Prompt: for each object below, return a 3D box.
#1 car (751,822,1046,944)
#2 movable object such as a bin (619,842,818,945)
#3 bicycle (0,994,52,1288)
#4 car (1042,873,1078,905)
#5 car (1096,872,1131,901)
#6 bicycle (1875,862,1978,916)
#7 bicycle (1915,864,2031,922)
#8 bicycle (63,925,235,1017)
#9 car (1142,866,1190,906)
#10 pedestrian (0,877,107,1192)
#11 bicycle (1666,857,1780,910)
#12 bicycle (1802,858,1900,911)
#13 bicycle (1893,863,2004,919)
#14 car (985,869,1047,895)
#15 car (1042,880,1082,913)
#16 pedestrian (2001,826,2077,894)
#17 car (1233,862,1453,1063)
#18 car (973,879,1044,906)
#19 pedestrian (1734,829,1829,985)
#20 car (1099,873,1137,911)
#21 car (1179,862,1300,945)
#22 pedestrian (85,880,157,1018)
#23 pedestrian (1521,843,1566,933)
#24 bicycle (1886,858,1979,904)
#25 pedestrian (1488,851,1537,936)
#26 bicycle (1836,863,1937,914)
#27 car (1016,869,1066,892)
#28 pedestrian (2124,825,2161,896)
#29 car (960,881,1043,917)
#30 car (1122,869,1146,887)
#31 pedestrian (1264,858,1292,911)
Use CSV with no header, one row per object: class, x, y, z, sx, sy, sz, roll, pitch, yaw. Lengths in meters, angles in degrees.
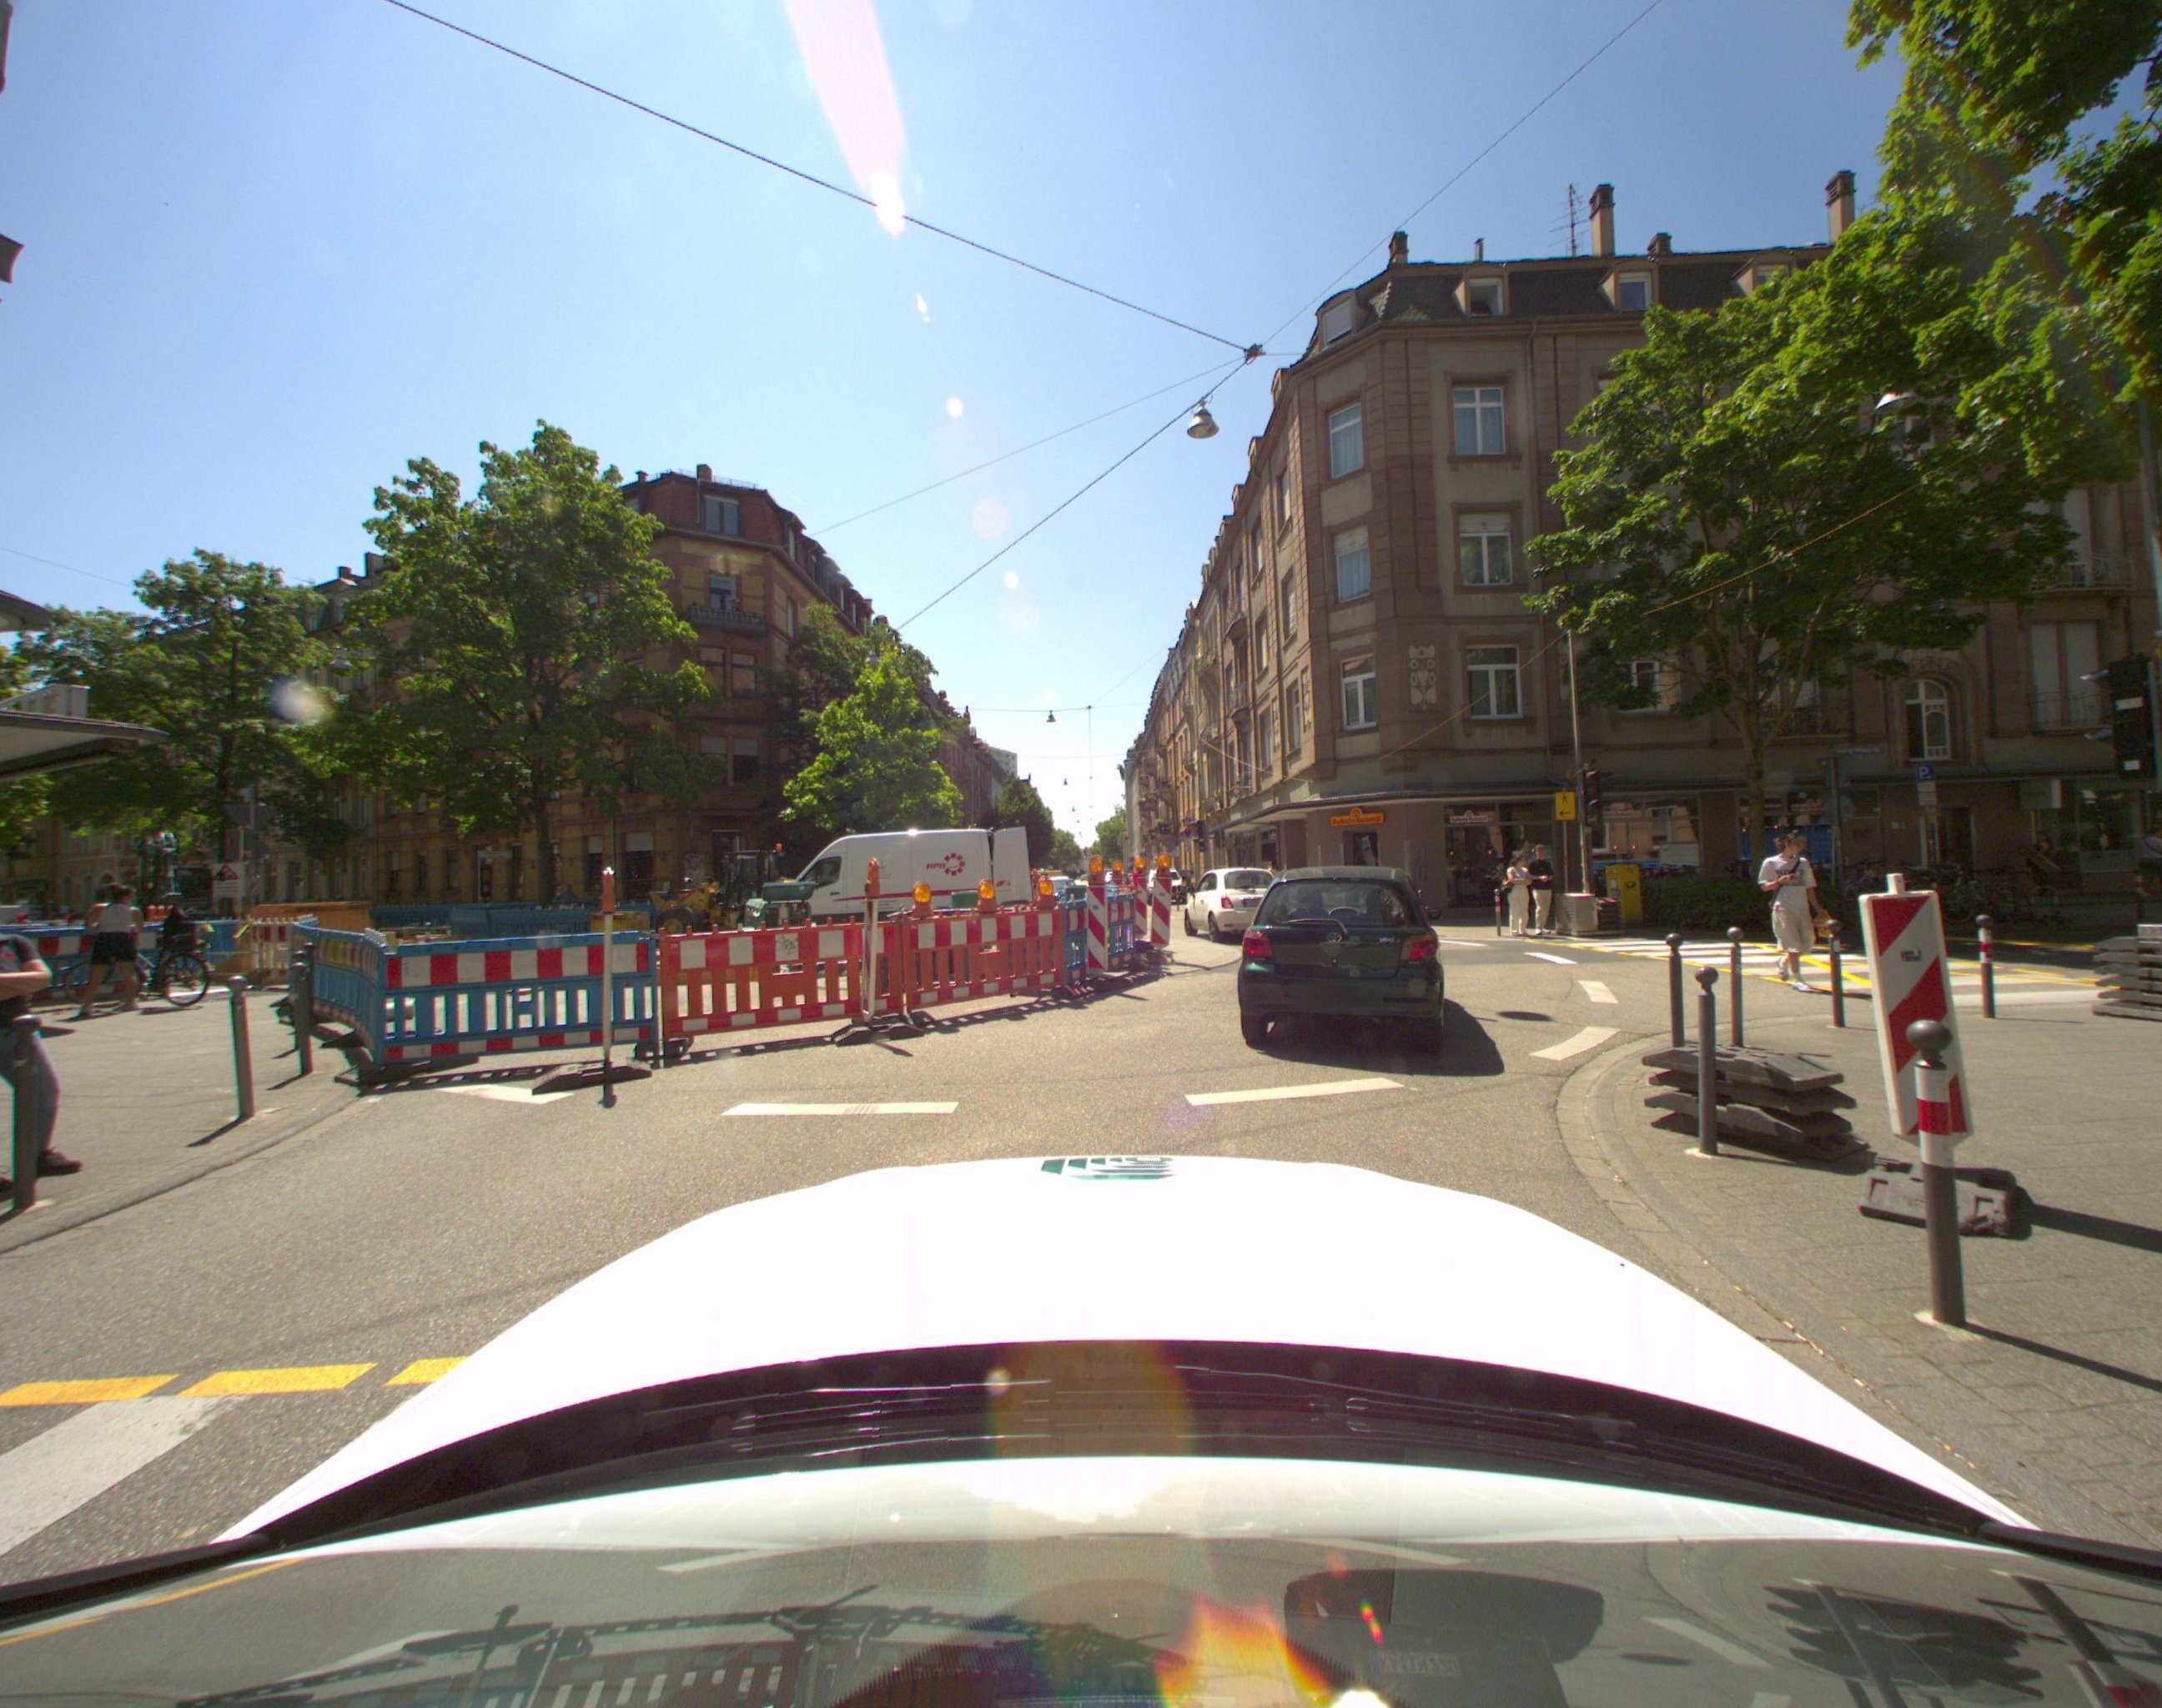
car,-4.250,0.707,19.902,6.597,2.752,2.380,0,-2,1
movable object such as a bin,-9.791,1.063,22.315,4.532,2.659,1.953,0,-2,-3
bicycle,-5.168,1.173,3.460,1.789,1.119,0.470,-1,-1,21
car,-1.194,2.032,48.021,1.748,1.645,4.377,-5,-2,1
car,2.032,2.073,52.166,1.987,1.618,3.999,-5,-2,0
bicycle,17.219,0.697,16.595,1.680,1.006,0.470,-2,0,-4
bicycle,16.938,0.728,15.475,1.756,0.996,0.470,-2,0,-4
bicycle,-12.433,1.546,10.899,1.573,1.072,0.340,-2,-2,-17
car,4.029,1.508,39.125,1.865,1.713,4.504,-4,-2,1
pedestrian,-5.782,0.941,4.429,0.388,1.618,0.475,-2,-2,-2
bicycle,14.760,0.685,18.778,1.964,1.132,0.519,-3,-2,18
bicycle,16.812,0.657,17.783,1.756,1.080,0.470,-2,0,-4
bicycle,17.066,0.717,16.027,1.756,0.996,0.470,-2,0,-4
car,-5.518,2.386,69.150,4.801,1.994,2.034,-1,-2,-29
car,-0.891,2.046,39.834,1.748,1.444,4.000,-3,-2,1
pedestrian,23.749,0.151,20.210,0.853,1.634,0.787,-2,-2,0
car,2.517,0.828,7.828,1.600,1.485,3.256,-1,-1,19
car,-4.378,2.305,49.517,3.943,1.470,1.843,0,-2,-41
pedestrian,8.195,0.613,9.560,0.473,1.733,0.876,-3,-3,19
car,1.664,1.713,37.365,1.518,1.592,3.262,-2,-1,-1
car,3.226,0.986,17.171,1.521,1.521,3.255,-2,-1,-7
pedestrian,-12.538,1.213,10.641,0.385,1.715,0.594,-4,-2,40
pedestrian,9.501,0.685,16.747,0.575,1.768,0.470,-4,2,-8
bicycle,19.924,0.624,19.066,1.720,0.996,0.504,-2,0,-4
pedestrian,8.781,0.799,16.576,0.701,1.645,0.422,-4,2,-8
bicycle,17.125,0.731,17.322,1.756,0.996,0.470,-2,0,-4
car,-4.019,2.641,81.687,4.582,2.188,1.982,-1,-2,-27
pedestrian,25.126,0.149,19.104,0.488,1.614,0.560,-2,-2,5
car,-4.143,2.307,42.585,4.011,1.804,1.752,1,-2,-29
car,4.348,1.980,67.225,1.748,1.429,4.000,-3,-2,1
pedestrian,6.181,0.942,25.581,0.639,1.623,0.804,-2,-2,1
